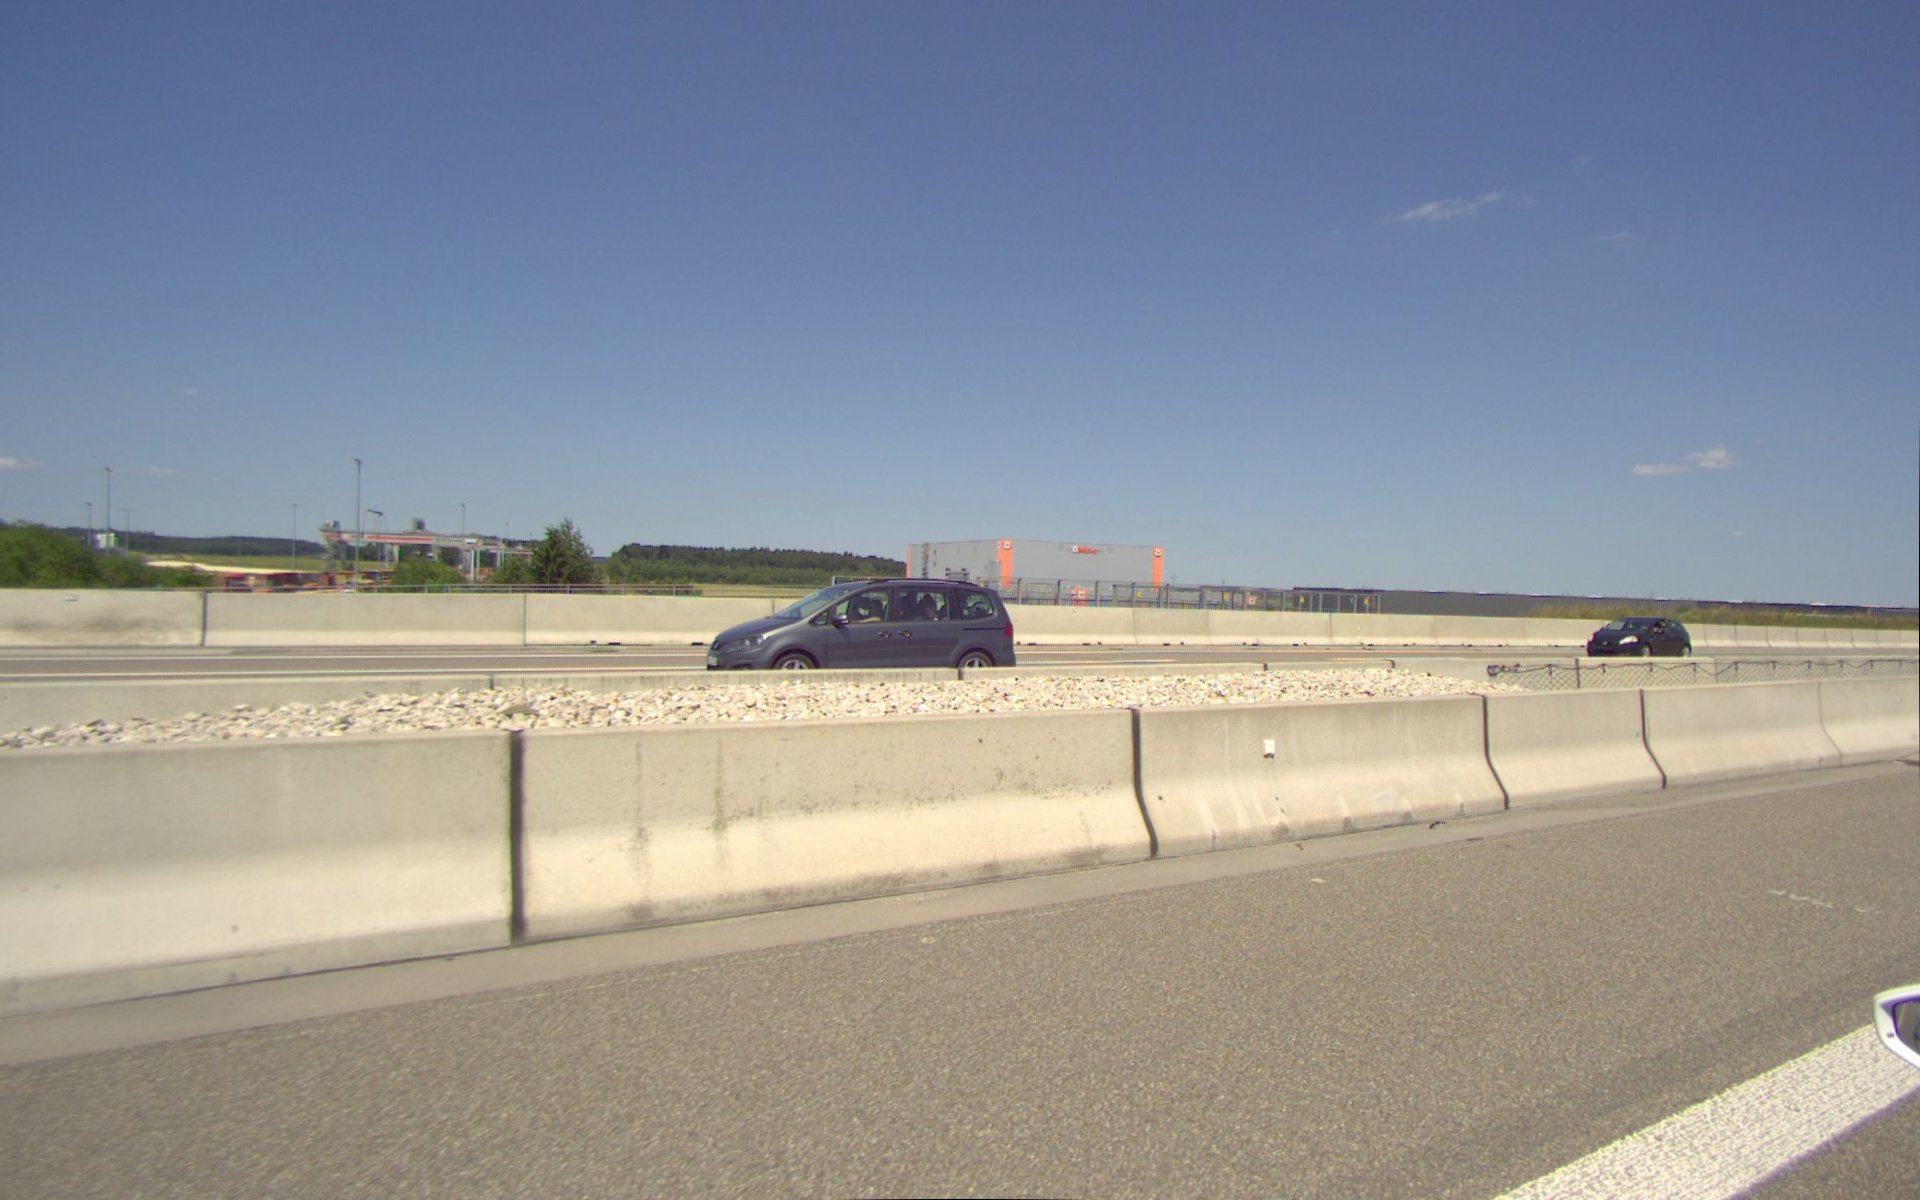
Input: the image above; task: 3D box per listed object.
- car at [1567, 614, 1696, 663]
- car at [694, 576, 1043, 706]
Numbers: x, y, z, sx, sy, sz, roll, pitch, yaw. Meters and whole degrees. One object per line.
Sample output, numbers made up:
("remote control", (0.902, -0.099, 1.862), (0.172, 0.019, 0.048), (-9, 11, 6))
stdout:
("car", (21.960, 1.244, 32.818), (4.235, 1.478, 1.900), (1, 0, -31))
("car", (-1.327, 0.582, 15.268), (4.954, 1.709, 1.876), (1, 0, -29))
